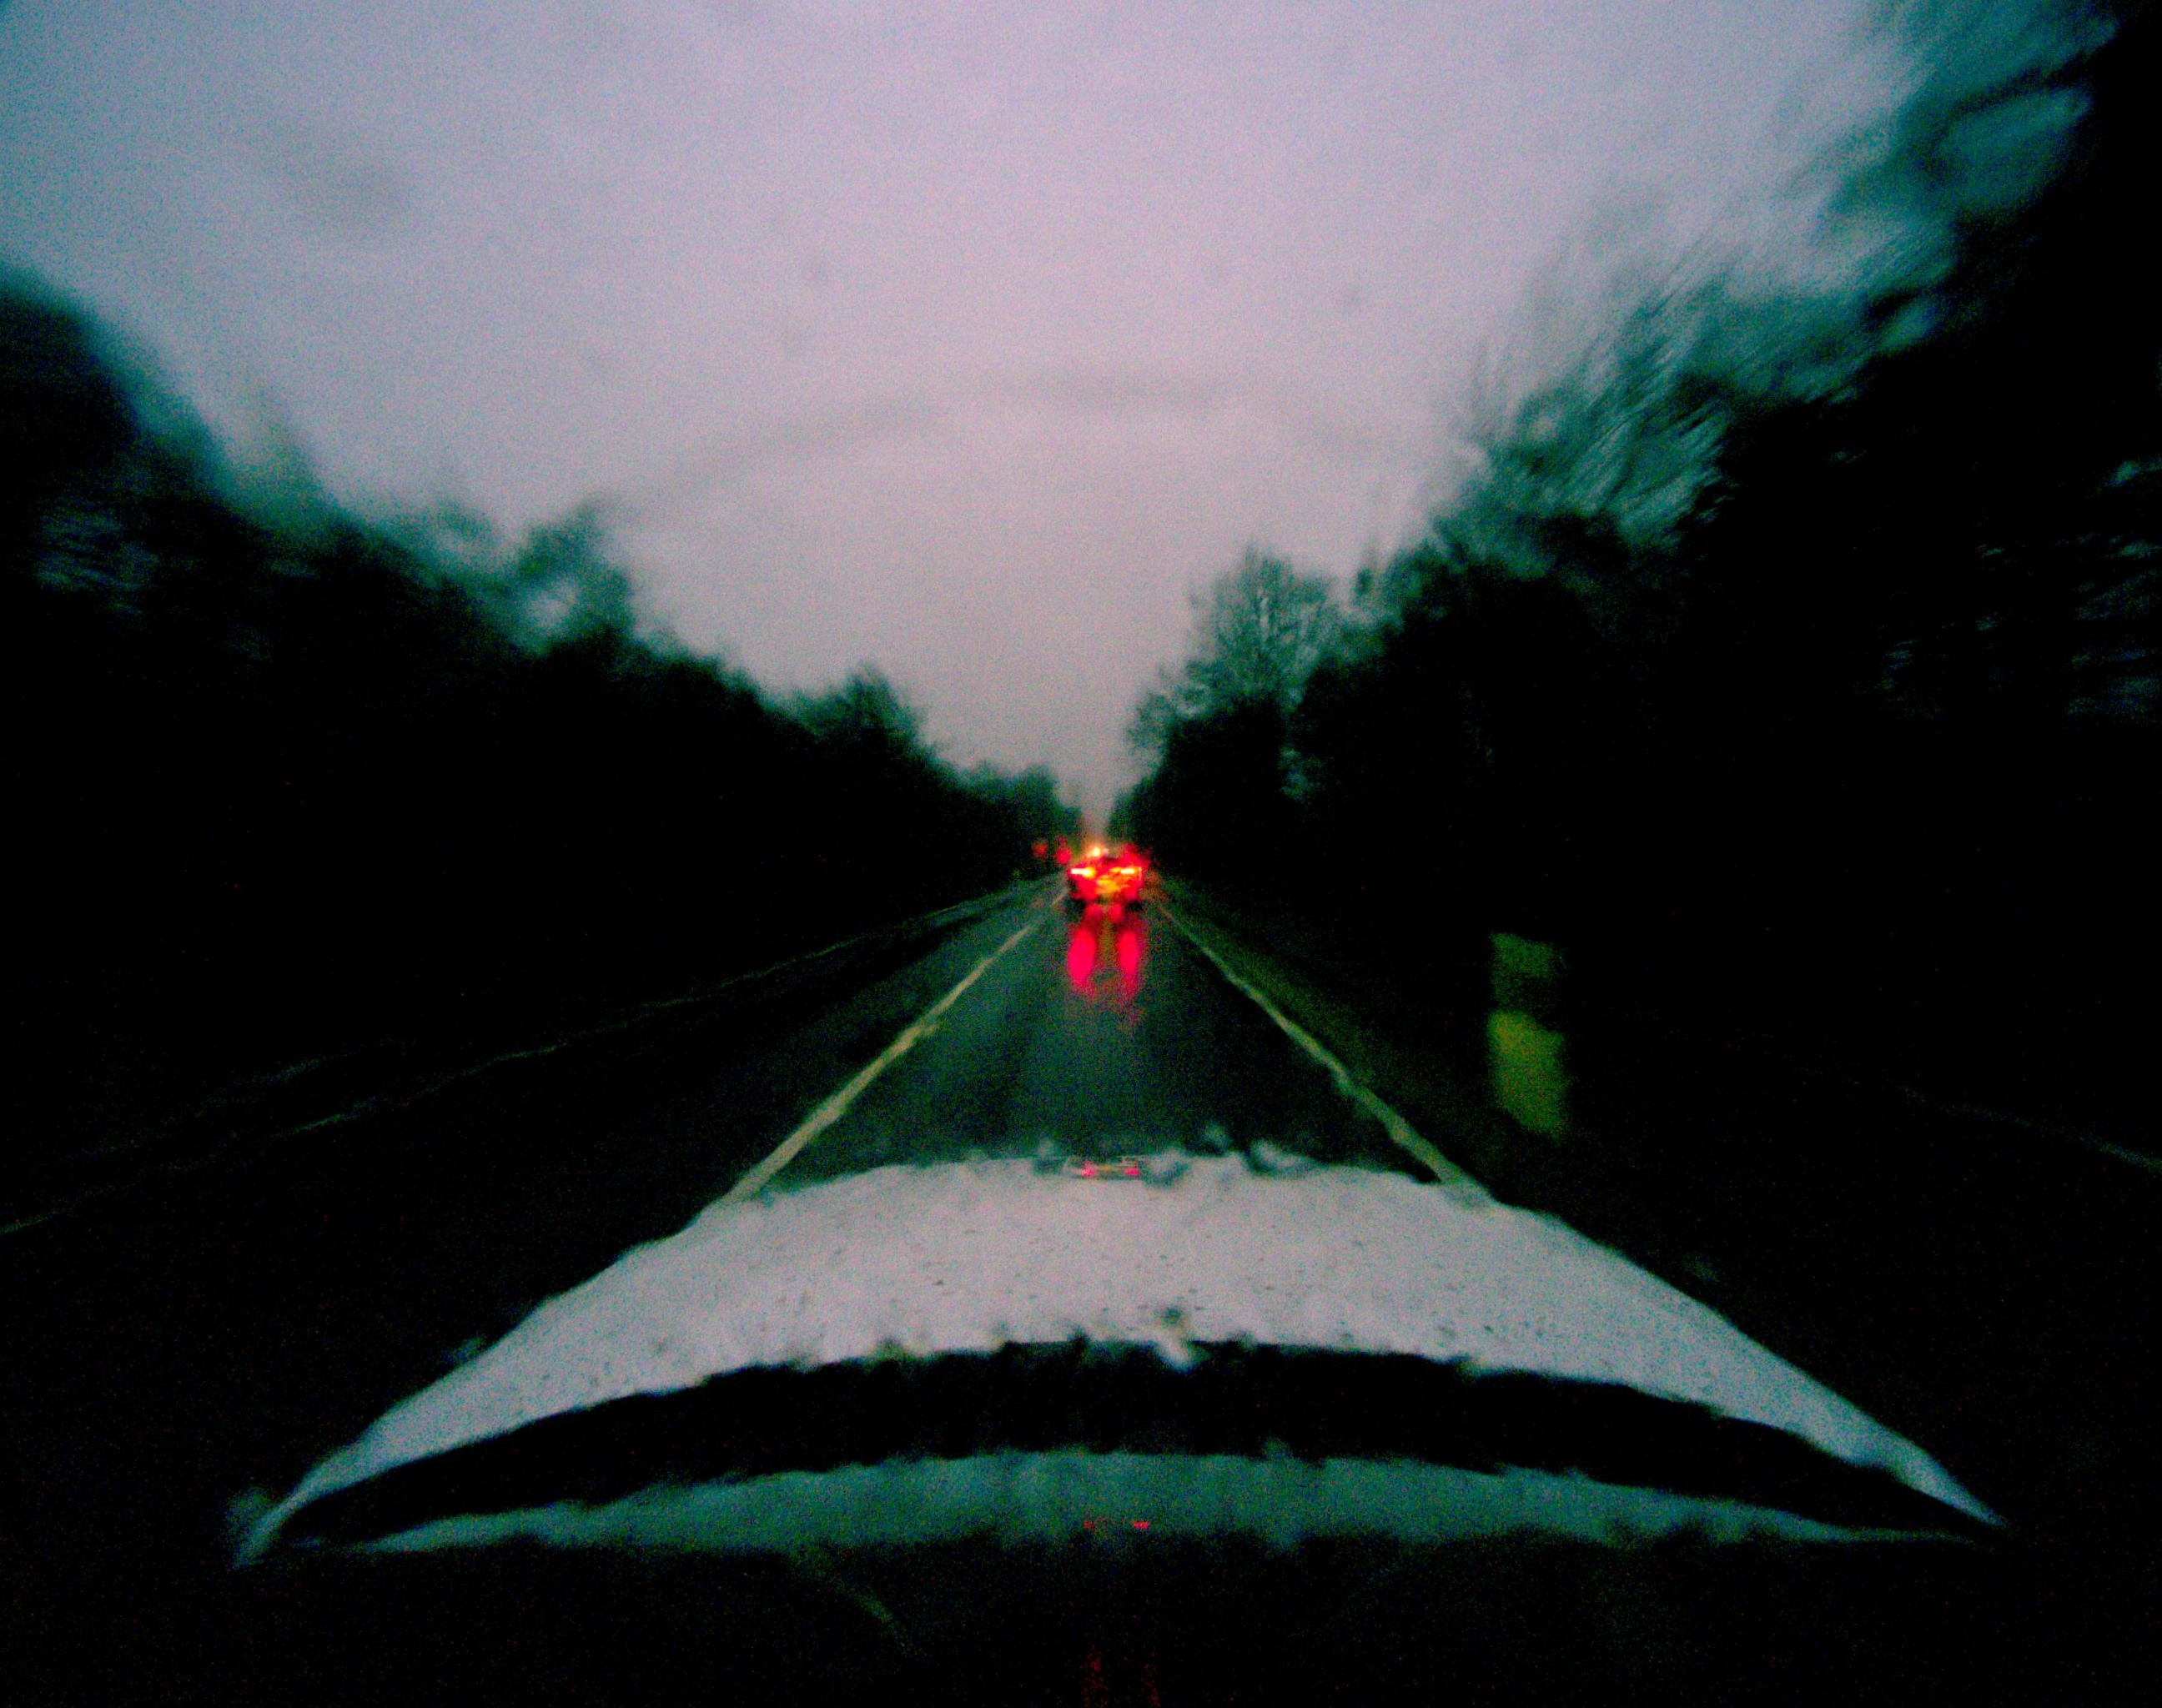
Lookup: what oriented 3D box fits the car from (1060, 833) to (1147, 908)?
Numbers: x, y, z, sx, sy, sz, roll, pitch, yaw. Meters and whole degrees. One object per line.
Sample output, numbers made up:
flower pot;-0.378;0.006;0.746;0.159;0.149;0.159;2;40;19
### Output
car;0.620;0.403;23.064;2.190;1.877;4.828;0;0;1
